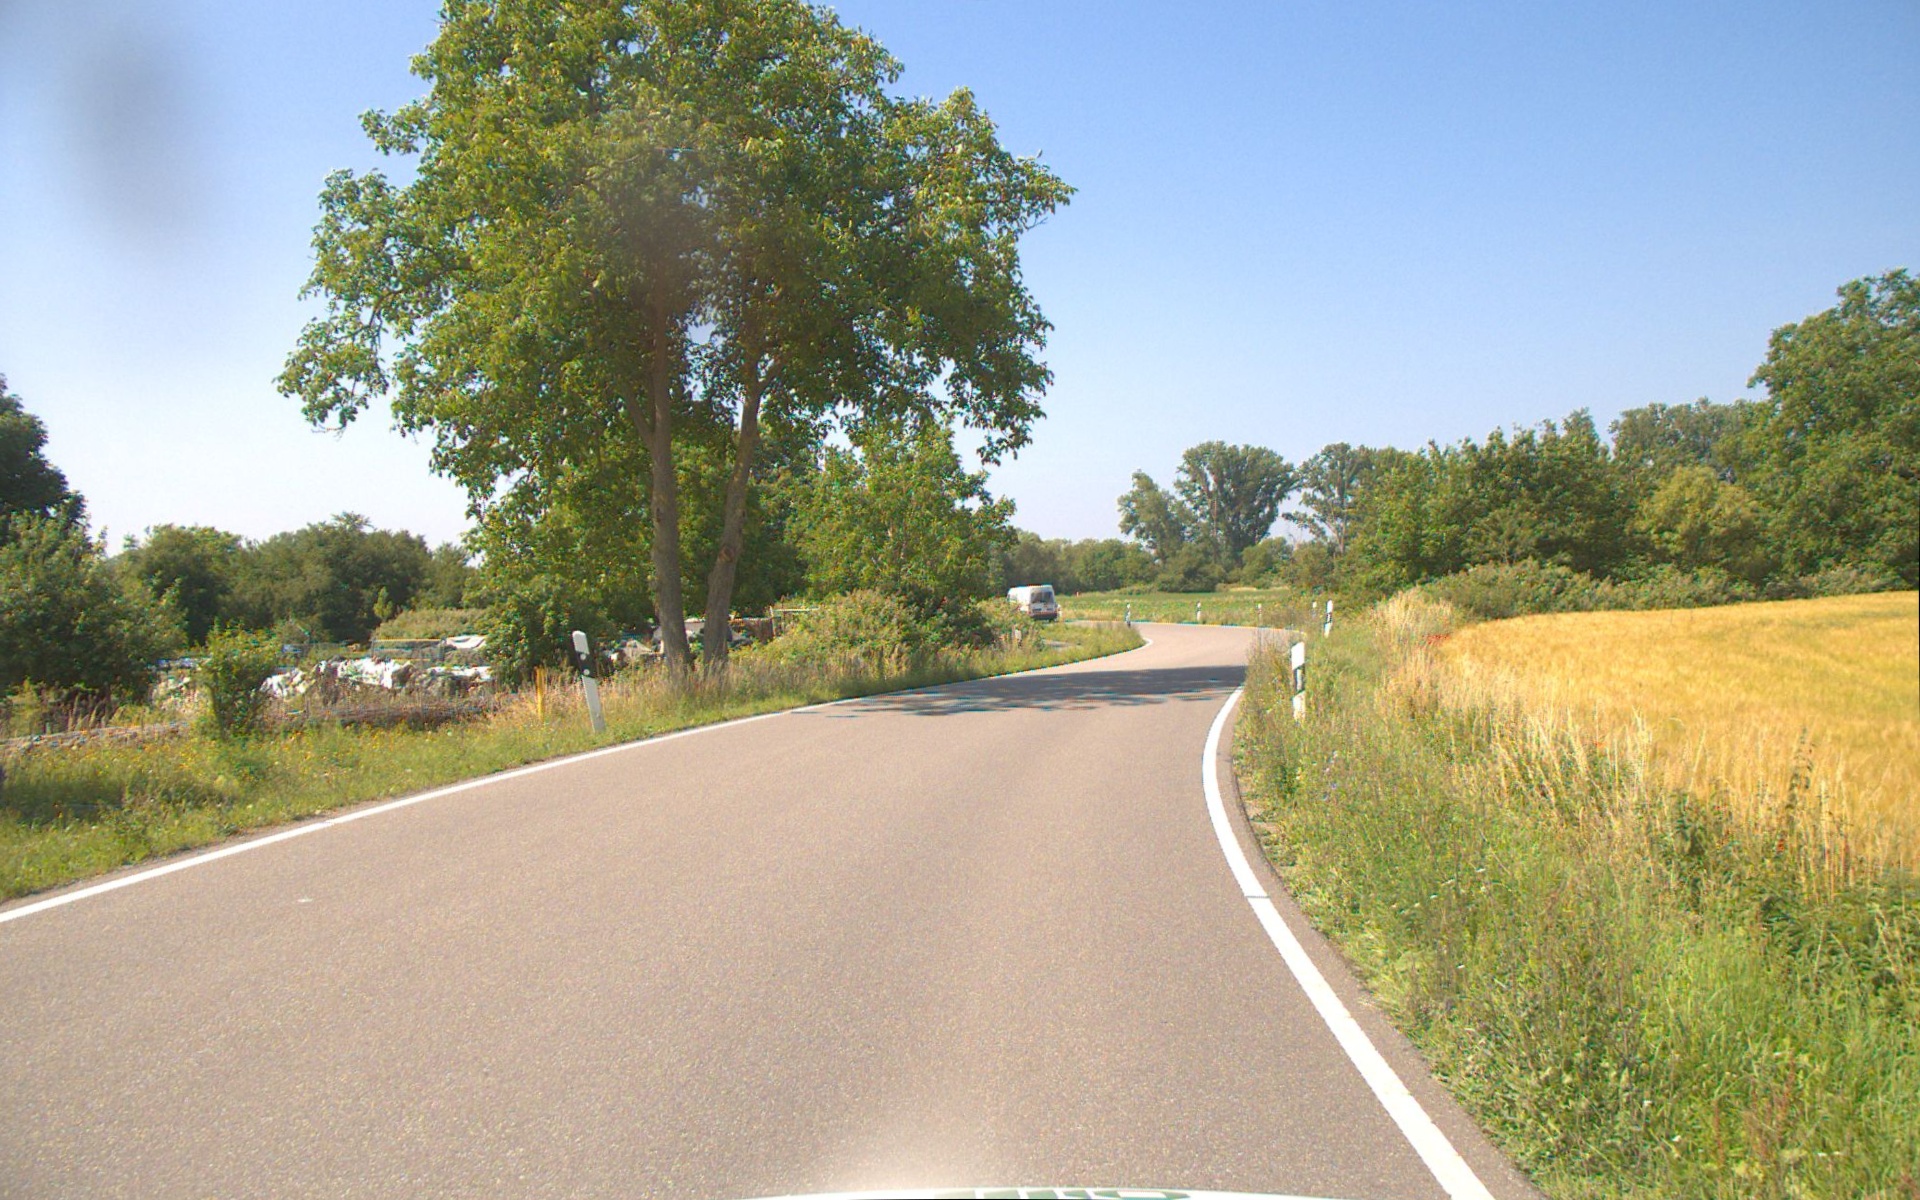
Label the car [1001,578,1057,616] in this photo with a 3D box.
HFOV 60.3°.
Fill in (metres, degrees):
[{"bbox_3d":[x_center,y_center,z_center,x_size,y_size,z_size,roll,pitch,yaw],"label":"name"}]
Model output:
[{"bbox_3d":[4.581,-0.216,111.167,2.070,2.408,5.662,-2,1,-16],"label":"car"}]
